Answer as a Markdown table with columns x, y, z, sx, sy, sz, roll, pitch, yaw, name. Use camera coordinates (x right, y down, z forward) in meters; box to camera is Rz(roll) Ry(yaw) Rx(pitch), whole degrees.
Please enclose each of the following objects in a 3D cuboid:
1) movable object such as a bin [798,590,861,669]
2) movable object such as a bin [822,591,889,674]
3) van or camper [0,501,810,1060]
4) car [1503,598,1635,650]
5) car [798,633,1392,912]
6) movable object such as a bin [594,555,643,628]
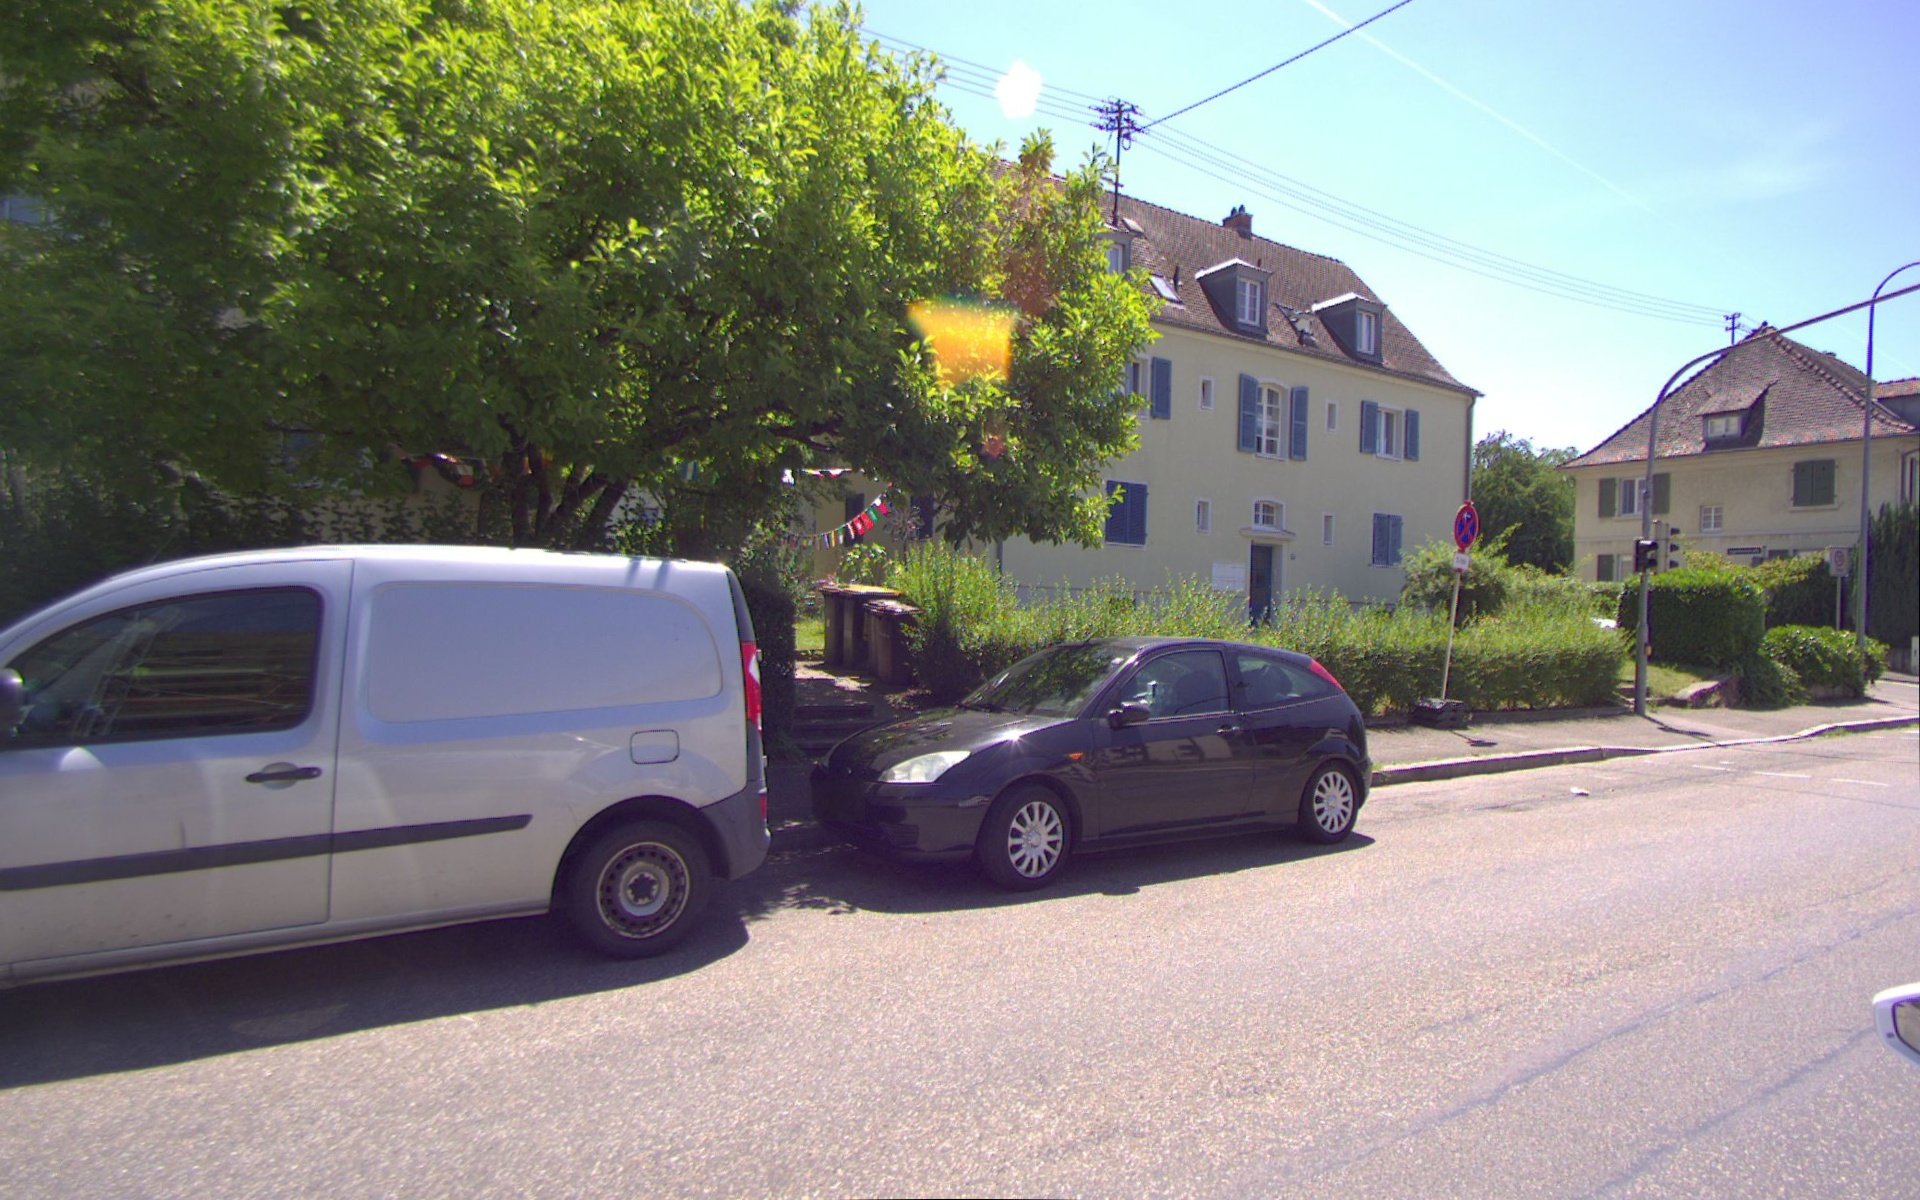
| x | y | z | sx | sy | sz | roll | pitch | yaw | name |
| --- | --- | --- | --- | --- | --- | --- | --- | --- | --- |
| -1.754 | 0.386 | 13.443 | 0.615 | 1.024 | 0.668 | 1 | 0 | -30 | movable object such as a bin |
| -1.343 | 0.410 | 12.848 | 0.615 | 1.024 | 0.668 | 1 | 0 | -30 | movable object such as a bin |
| -2.822 | 0.633 | 4.439 | 3.938 | 1.828 | 1.674 | 2 | -2 | -30 | van or camper |
| 21.402 | 0.817 | 35.428 | 1.726 | 1.476 | 3.568 | 3 | 2 | -26 | car |
| 1.020 | 0.964 | 6.906 | 3.882 | 1.430 | 1.673 | 2 | -2 | -31 | car |
| -5.832 | -0.134 | 17.141 | 0.666 | 1.212 | 0.618 | 1 | 0 | -29 | movable object such as a bin |
